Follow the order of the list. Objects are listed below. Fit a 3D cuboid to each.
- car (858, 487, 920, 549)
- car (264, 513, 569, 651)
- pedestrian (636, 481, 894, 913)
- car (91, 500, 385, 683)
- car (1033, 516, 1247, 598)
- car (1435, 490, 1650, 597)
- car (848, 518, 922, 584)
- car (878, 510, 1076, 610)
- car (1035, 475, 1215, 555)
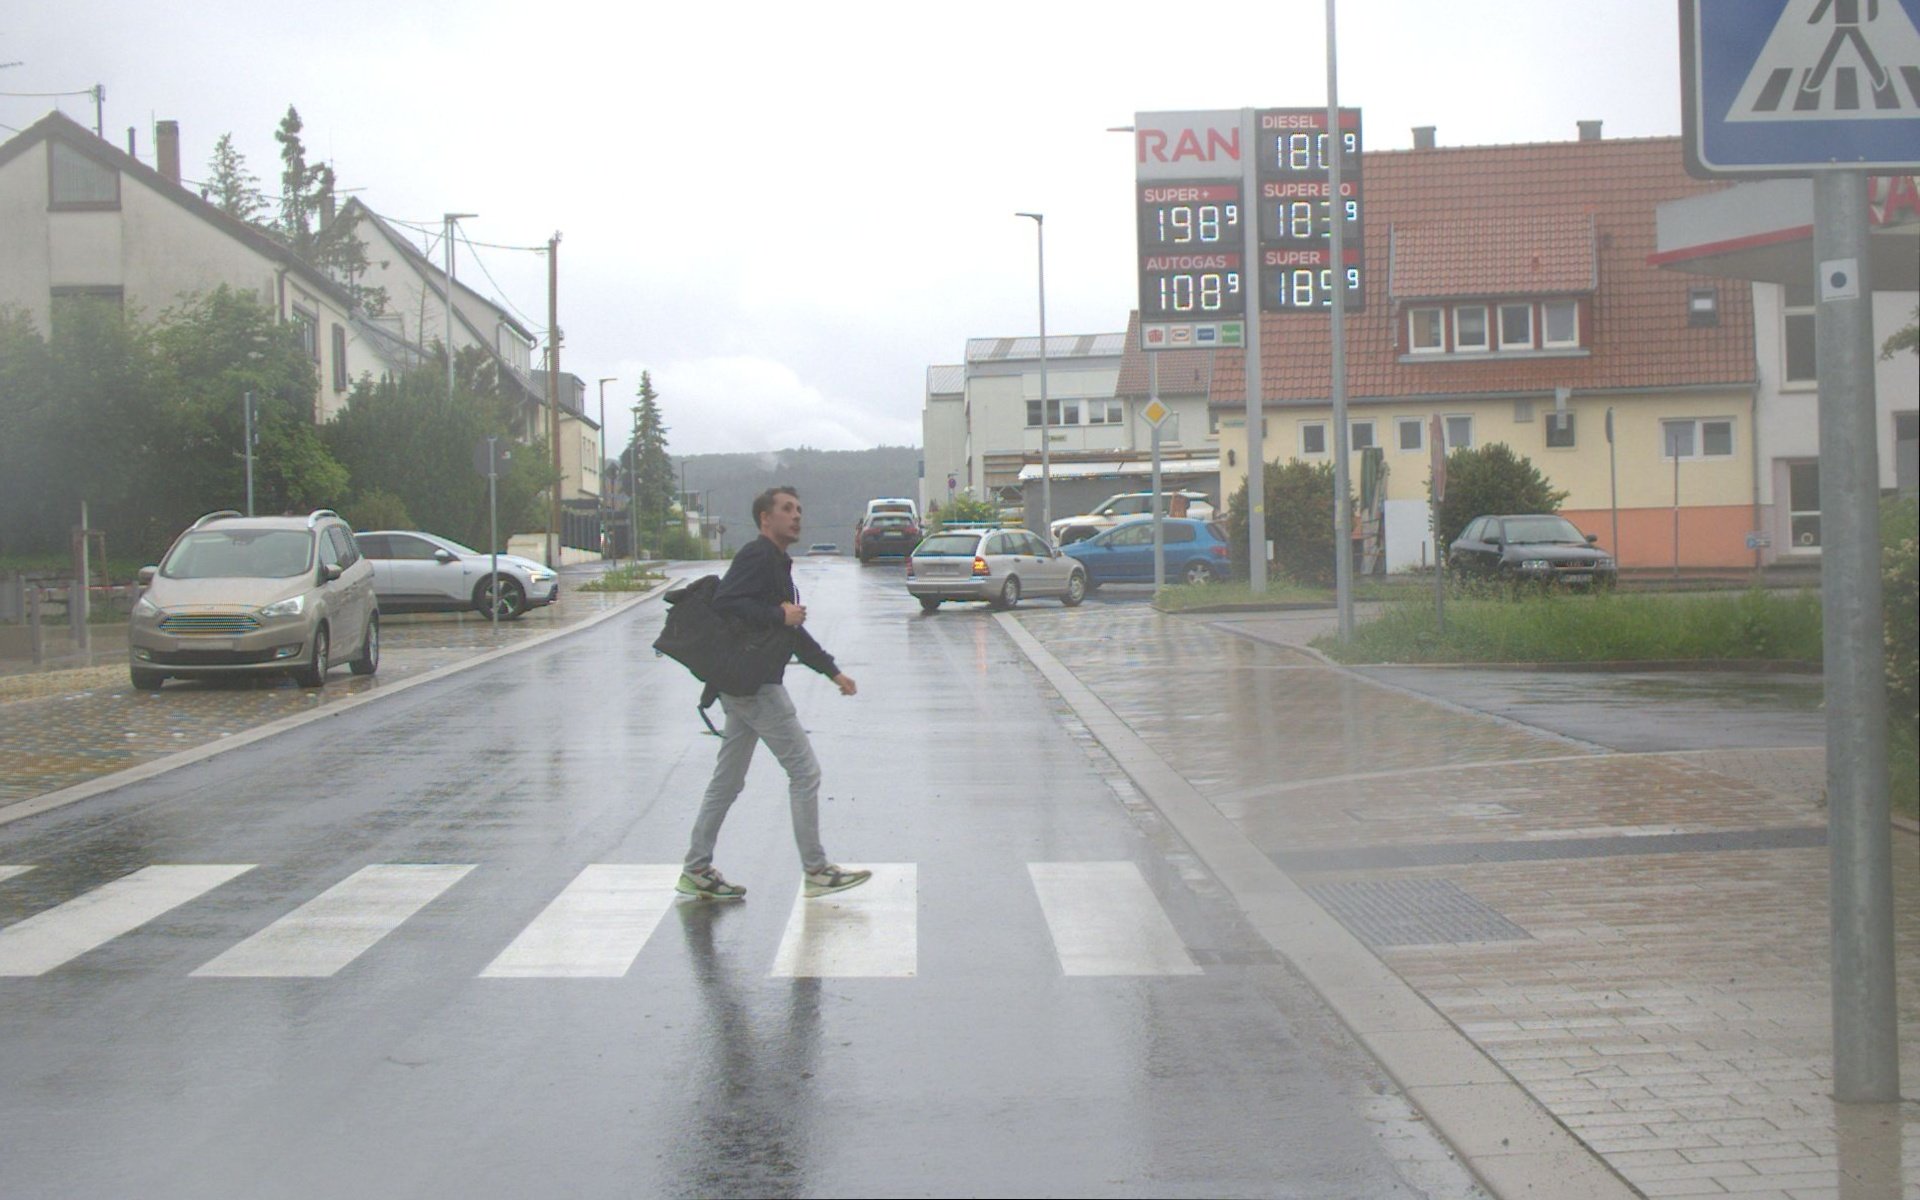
[{"bbox_3d":[-2.165,-2.496,105.666,1.783,1.700,4.000,2,-1,-1],"label":"car"},{"bbox_3d":[-8.802,-0.277,55.972,4.752,2.007,2.000,3,-1,-7],"label":"car"},{"bbox_3d":[-0.800,0.381,14.164,1.013,1.718,0.772,-1,1,-3],"label":"pedestrian"},{"bbox_3d":[-6.923,-0.129,33.397,1.993,1.623,4.153,-1,1,-1],"label":"car"},{"bbox_3d":[3.686,-0.876,70.374,3.990,1.488,1.856,2,-1,17],"label":"car"},{"bbox_3d":[9.309,-0.870,55.248,1.993,1.547,4.001,3,-1,-12],"label":"car"},{"bbox_3d":[-2.142,-1.396,98.924,1.993,1.700,4.000,2,-1,-1],"label":"car"},{"bbox_3d":[0.338,-0.677,60.148,1.951,1.550,3.994,2,-1,25],"label":"car"},{"bbox_3d":[3.967,-2.051,83.187,4.112,1.700,1.789,2,-1,-3],"label":"car"}]
